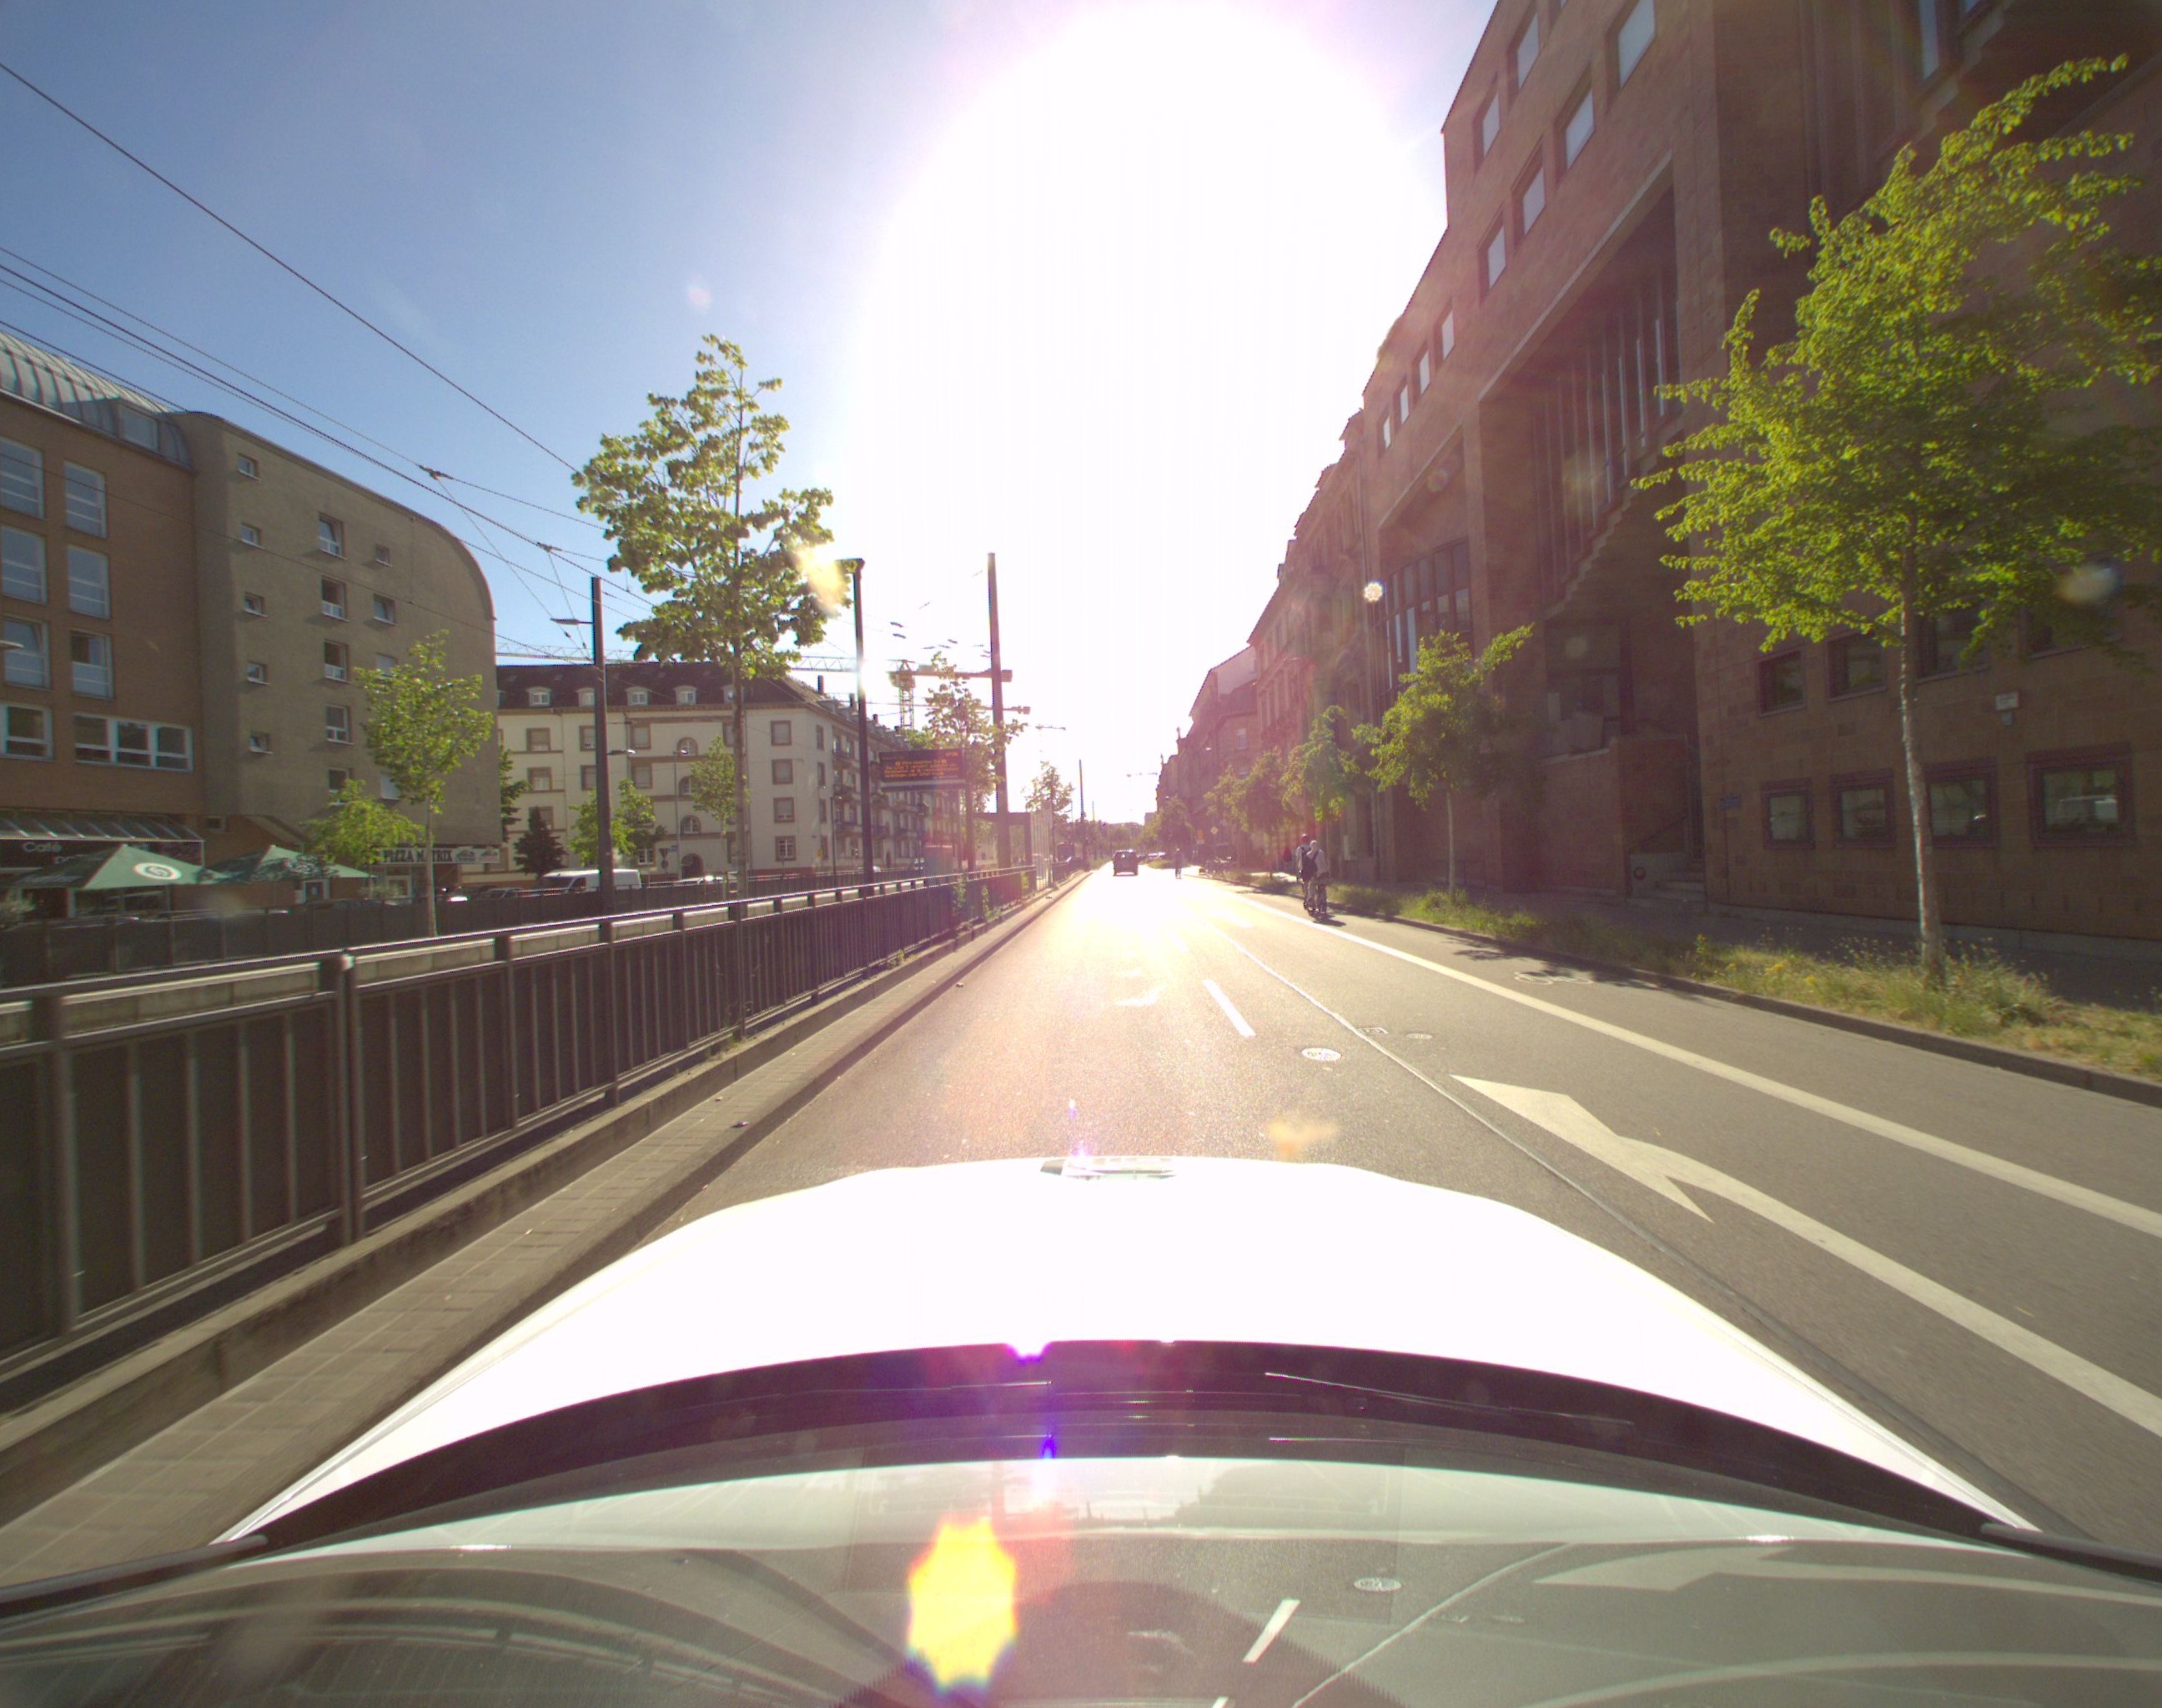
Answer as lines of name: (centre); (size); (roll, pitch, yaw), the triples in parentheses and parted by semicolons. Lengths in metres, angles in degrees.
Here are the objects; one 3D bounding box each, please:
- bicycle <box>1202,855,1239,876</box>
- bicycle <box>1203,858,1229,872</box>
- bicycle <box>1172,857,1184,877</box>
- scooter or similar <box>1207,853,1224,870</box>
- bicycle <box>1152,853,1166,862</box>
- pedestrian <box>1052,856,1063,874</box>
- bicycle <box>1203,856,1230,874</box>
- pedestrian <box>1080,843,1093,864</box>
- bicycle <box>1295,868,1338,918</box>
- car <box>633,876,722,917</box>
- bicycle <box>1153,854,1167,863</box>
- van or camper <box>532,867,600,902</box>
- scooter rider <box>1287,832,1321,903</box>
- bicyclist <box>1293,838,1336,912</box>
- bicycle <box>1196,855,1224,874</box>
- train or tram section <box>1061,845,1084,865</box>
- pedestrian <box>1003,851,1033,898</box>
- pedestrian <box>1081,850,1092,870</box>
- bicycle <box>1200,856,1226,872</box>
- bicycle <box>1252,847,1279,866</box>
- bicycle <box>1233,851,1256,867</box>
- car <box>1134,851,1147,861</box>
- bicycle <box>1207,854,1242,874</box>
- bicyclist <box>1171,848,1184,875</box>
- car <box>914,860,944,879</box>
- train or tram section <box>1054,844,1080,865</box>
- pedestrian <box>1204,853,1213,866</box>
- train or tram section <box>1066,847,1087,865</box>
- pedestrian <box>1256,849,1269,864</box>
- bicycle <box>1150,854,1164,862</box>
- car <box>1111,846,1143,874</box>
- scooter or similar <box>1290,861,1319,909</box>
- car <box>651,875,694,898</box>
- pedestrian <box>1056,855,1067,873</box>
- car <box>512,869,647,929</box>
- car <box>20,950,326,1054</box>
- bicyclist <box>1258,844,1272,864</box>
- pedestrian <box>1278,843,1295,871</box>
bicycle: (8.542, 0.725, 49.745); (1.994, 1.092, 0.845); (-5, 0, -8)
bicycle: (9.198, 0.736, 55.448); (1.660, 0.821, 0.608); (-4, 0, 8)
bicycle: (6.059, 0.803, 50.969); (0.599, 1.181, 1.870); (-1, 0, 2)
scooter or similar: (9.487, 0.528, 57.517); (1.104, 1.189, 0.420); (-3, 0, 9)
bicycle: (10.563, 0.519, 110.162); (1.786, 1.030, 0.528); (-7, 0, 2)
pedestrian: (-2.036, 0.970, 71.460); (0.861, 1.536, 0.910); (-2, 0, 2)
bicycle: (8.713, 0.692, 52.427); (1.592, 1.045, 0.608); (-5, 0, 5)
pedestrian: (0.502, -0.040, 77.380); (1.073, 1.908, 0.652); (-3, 0, -4)
bicycle: (5.548, 0.885, 19.260); (0.555, 1.092, 1.793); (-1, 0, 2)
car: (-18.520, 1.919, 37.618); (1.986, 1.684, 4.002); (-1, -1, 2)
bicycle: (11.001, 0.624, 113.556); (1.785, 1.030, 0.528); (-3, 0, 2)
van or camper: (-38.343, 2.213, 60.870); (1.993, 2.401, 5.938); (-3, 0, -9)
scooter rider: (5.957, 0.358, 21.819); (0.664, 1.860, 0.901); (-1, 0, 2)
bicyclist: (5.500, 0.482, 19.204); (0.776, 1.711, 0.869); (-1, 0, 1)
bicycle: (8.557, 0.689, 53.988); (1.715, 1.100, 0.608); (-5, 0, 5)
train or tram section: (-1.281, 0.226, 122.975); (2.744, 2.743, 9.871); (-1, -1, 3)
pedestrian: (-2.100, 0.677, 27.238); (0.809, 1.536, 0.799); (-3, 0, 4)
pedestrian: (0.490, 0.553, 75.064); (0.863, 1.788, 0.969); (-2, 0, -4)
bicycle: (9.086, 0.680, 56.118); (1.660, 0.944, 0.608); (-4, 0, 9)
bicycle: (14.879, 0.215, 65.634); (1.875, 1.330, 0.621); (-7, -1, 35)
bicycle: (13.670, 0.397, 68.208); (1.808, 1.171, 0.655); (-3, 3, 6)
car: (10.107, 0.305, 138.157); (2.020, 1.499, 4.656); (-3, 0, 2)
bicycle: (8.989, 0.623, 51.106); (1.986, 1.128, 0.710); (-5, 0, 3)
bicyclist: (6.078, 0.461, 51.290); (0.681, 1.673, 0.922); (-1, 0, 2)
car: (-14.730, 1.474, 79.213); (1.811, 1.794, 4.094); (-1, -1, 5)
train or tram section: (-1.855, 0.103, 113.137); (2.744, 2.743, 9.871); (-1, -1, 3)
pedestrian: (12.068, 0.493, 77.161); (0.703, 1.178, 0.635); (-4, -1, 2)
train or tram section: (-0.704, 0.348, 132.811); (2.744, 2.743, 9.871); (-1, -1, 3)
pedestrian: (15.482, 0.215, 69.553); (0.848, 1.214, 0.932); (-2, 0, -5)
bicycle: (10.755, 0.574, 114.867); (1.786, 1.030, 0.528); (-7, 0, 2)
car: (3.336, 0.435, 59.984); (2.191, 1.926, 4.656); (-3, 0, 2)
scooter or similar: (5.971, 0.817, 21.786); (0.489, 1.227, 1.171); (-1, 0, 2)
car: (-30.836, 2.442, 61.575); (1.684, 1.522, 3.665); (-3, 0, -7)
pedestrian: (-1.648, 0.871, 70.088); (0.809, 1.536, 0.799); (-2, 0, 4)
car: (-22.991, 1.973, 37.703); (1.981, 2.369, 5.661); (-2, 0, 10)
car: (-18.711, 2.991, 17.121); (1.872, 1.464, 4.001); (-1, -1, 1)
bicyclist: (14.825, -0.023, 65.599); (0.790, 1.530, 0.667); (-7, -1, 35)
pedestrian: (11.589, 0.181, 45.984); (0.706, 1.542, 0.927); (-3, -1, 2)
